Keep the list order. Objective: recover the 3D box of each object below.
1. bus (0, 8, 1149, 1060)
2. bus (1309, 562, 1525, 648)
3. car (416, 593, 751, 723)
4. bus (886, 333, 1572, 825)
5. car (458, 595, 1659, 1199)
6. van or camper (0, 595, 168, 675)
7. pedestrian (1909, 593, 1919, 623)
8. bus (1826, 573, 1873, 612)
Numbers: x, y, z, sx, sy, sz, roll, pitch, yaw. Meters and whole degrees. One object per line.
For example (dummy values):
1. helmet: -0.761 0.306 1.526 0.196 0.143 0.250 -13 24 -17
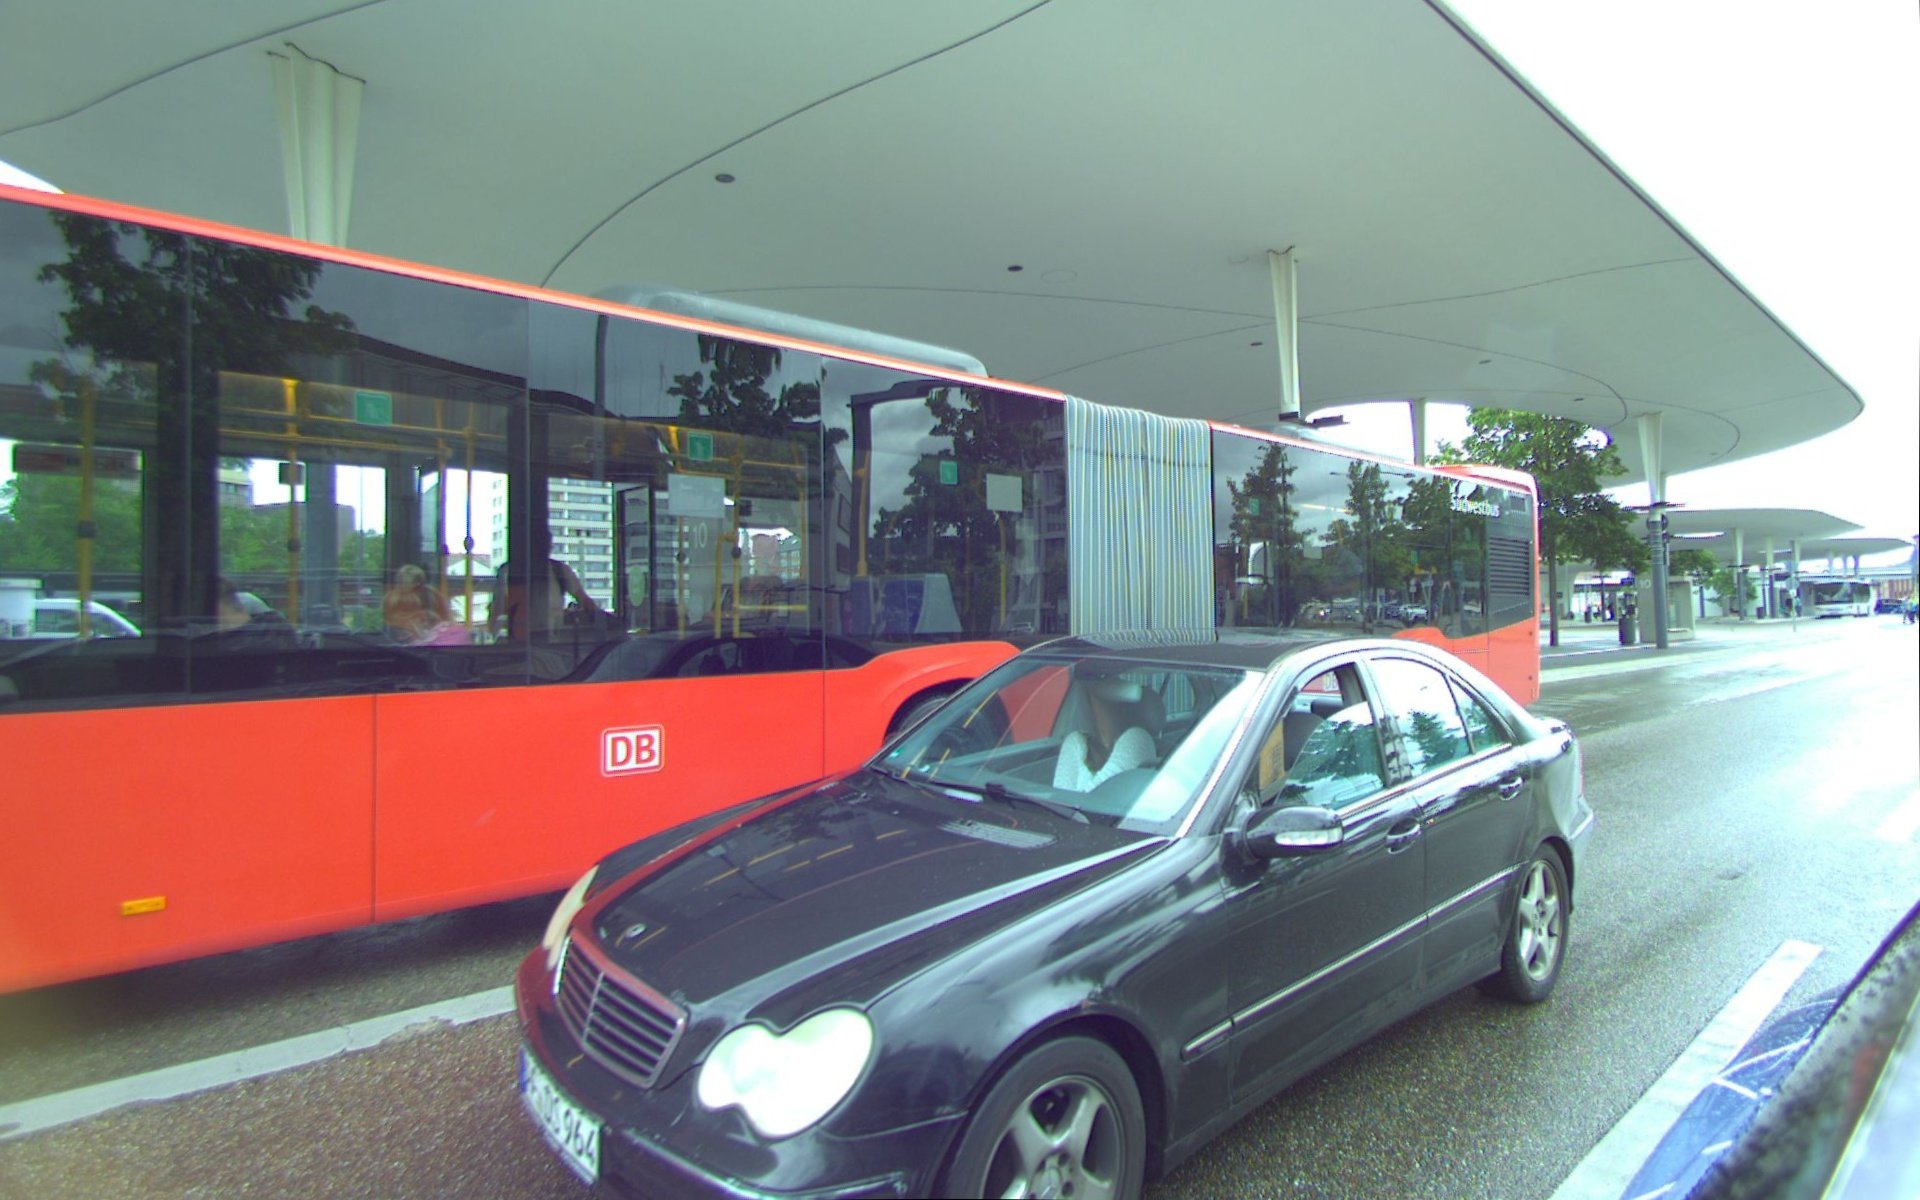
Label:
1. bus: -3.411 -0.206 4.495 10.016 3.214 2.747 0 0 -41
2. bus: 20.037 0.191 43.814 12.129 3.148 3.001 -1 -5 -38
3. car: -5.508 0.767 15.126 4.356 1.670 1.803 0 -2 -41
4. bus: 3.259 -0.148 10.283 7.978 3.214 2.747 0 0 -41
5. car: 0.784 0.788 3.651 4.357 1.499 1.748 -1 -2 -40
6. van or camper: -29.772 1.112 33.221 5.868 2.495 2.106 0 -1 -41
7. pedestrian: 52.292 0.454 55.281 0.577 1.645 0.576 0 -1 -41
8. bus: 75.385 -0.598 85.692 2.666 3.169 9.565 -1 -1 43
